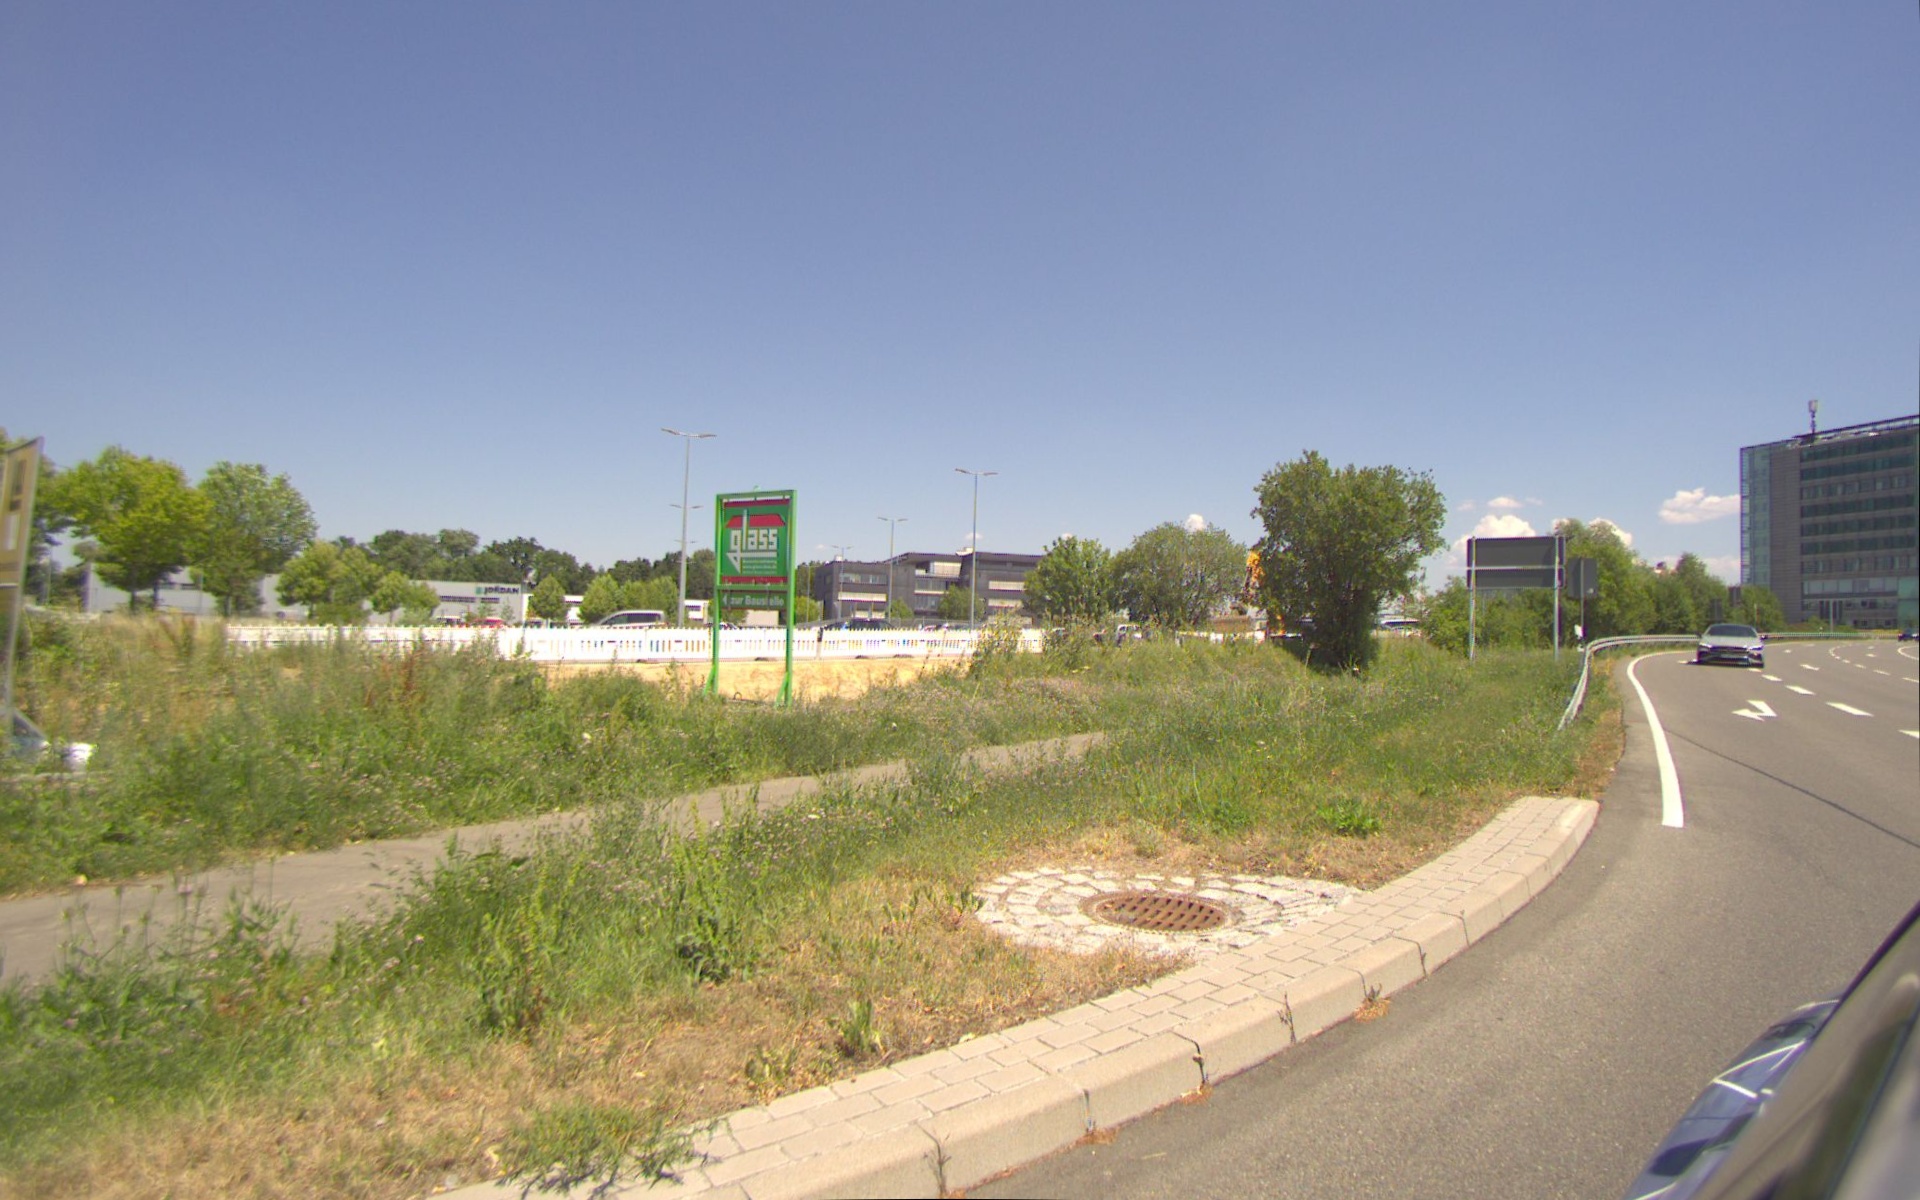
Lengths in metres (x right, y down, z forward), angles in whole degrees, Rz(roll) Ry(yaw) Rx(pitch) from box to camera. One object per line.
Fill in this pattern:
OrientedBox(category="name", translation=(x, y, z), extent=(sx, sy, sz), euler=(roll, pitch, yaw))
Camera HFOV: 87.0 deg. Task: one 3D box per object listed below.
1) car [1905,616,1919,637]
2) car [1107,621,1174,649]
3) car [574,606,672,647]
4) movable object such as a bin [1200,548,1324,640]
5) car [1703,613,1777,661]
OrientedBox(category="car", translation=(102.018, 2.839, 107.558), extent=(1.990, 2.039, 3.943), euler=(1, 1, 39))
OrientedBox(category="car", translation=(11.868, 2.268, 66.592), extent=(3.918, 1.660, 2.003), euler=(0, 1, -27))
OrientedBox(category="car", translation=(-16.240, 1.272, 48.986), extent=(4.382, 1.939, 1.943), euler=(1, -1, -17))
OrientedBox(category="movable object such as a bin", translation=(14.852, -0.328, 49.316), extent=(2.973, 4.095, 7.990), euler=(1, 1, 39))
OrientedBox(category="car", translation=(27.079, 1.311, 35.192), extent=(1.913, 1.460, 4.419), euler=(2, -1, 37))
